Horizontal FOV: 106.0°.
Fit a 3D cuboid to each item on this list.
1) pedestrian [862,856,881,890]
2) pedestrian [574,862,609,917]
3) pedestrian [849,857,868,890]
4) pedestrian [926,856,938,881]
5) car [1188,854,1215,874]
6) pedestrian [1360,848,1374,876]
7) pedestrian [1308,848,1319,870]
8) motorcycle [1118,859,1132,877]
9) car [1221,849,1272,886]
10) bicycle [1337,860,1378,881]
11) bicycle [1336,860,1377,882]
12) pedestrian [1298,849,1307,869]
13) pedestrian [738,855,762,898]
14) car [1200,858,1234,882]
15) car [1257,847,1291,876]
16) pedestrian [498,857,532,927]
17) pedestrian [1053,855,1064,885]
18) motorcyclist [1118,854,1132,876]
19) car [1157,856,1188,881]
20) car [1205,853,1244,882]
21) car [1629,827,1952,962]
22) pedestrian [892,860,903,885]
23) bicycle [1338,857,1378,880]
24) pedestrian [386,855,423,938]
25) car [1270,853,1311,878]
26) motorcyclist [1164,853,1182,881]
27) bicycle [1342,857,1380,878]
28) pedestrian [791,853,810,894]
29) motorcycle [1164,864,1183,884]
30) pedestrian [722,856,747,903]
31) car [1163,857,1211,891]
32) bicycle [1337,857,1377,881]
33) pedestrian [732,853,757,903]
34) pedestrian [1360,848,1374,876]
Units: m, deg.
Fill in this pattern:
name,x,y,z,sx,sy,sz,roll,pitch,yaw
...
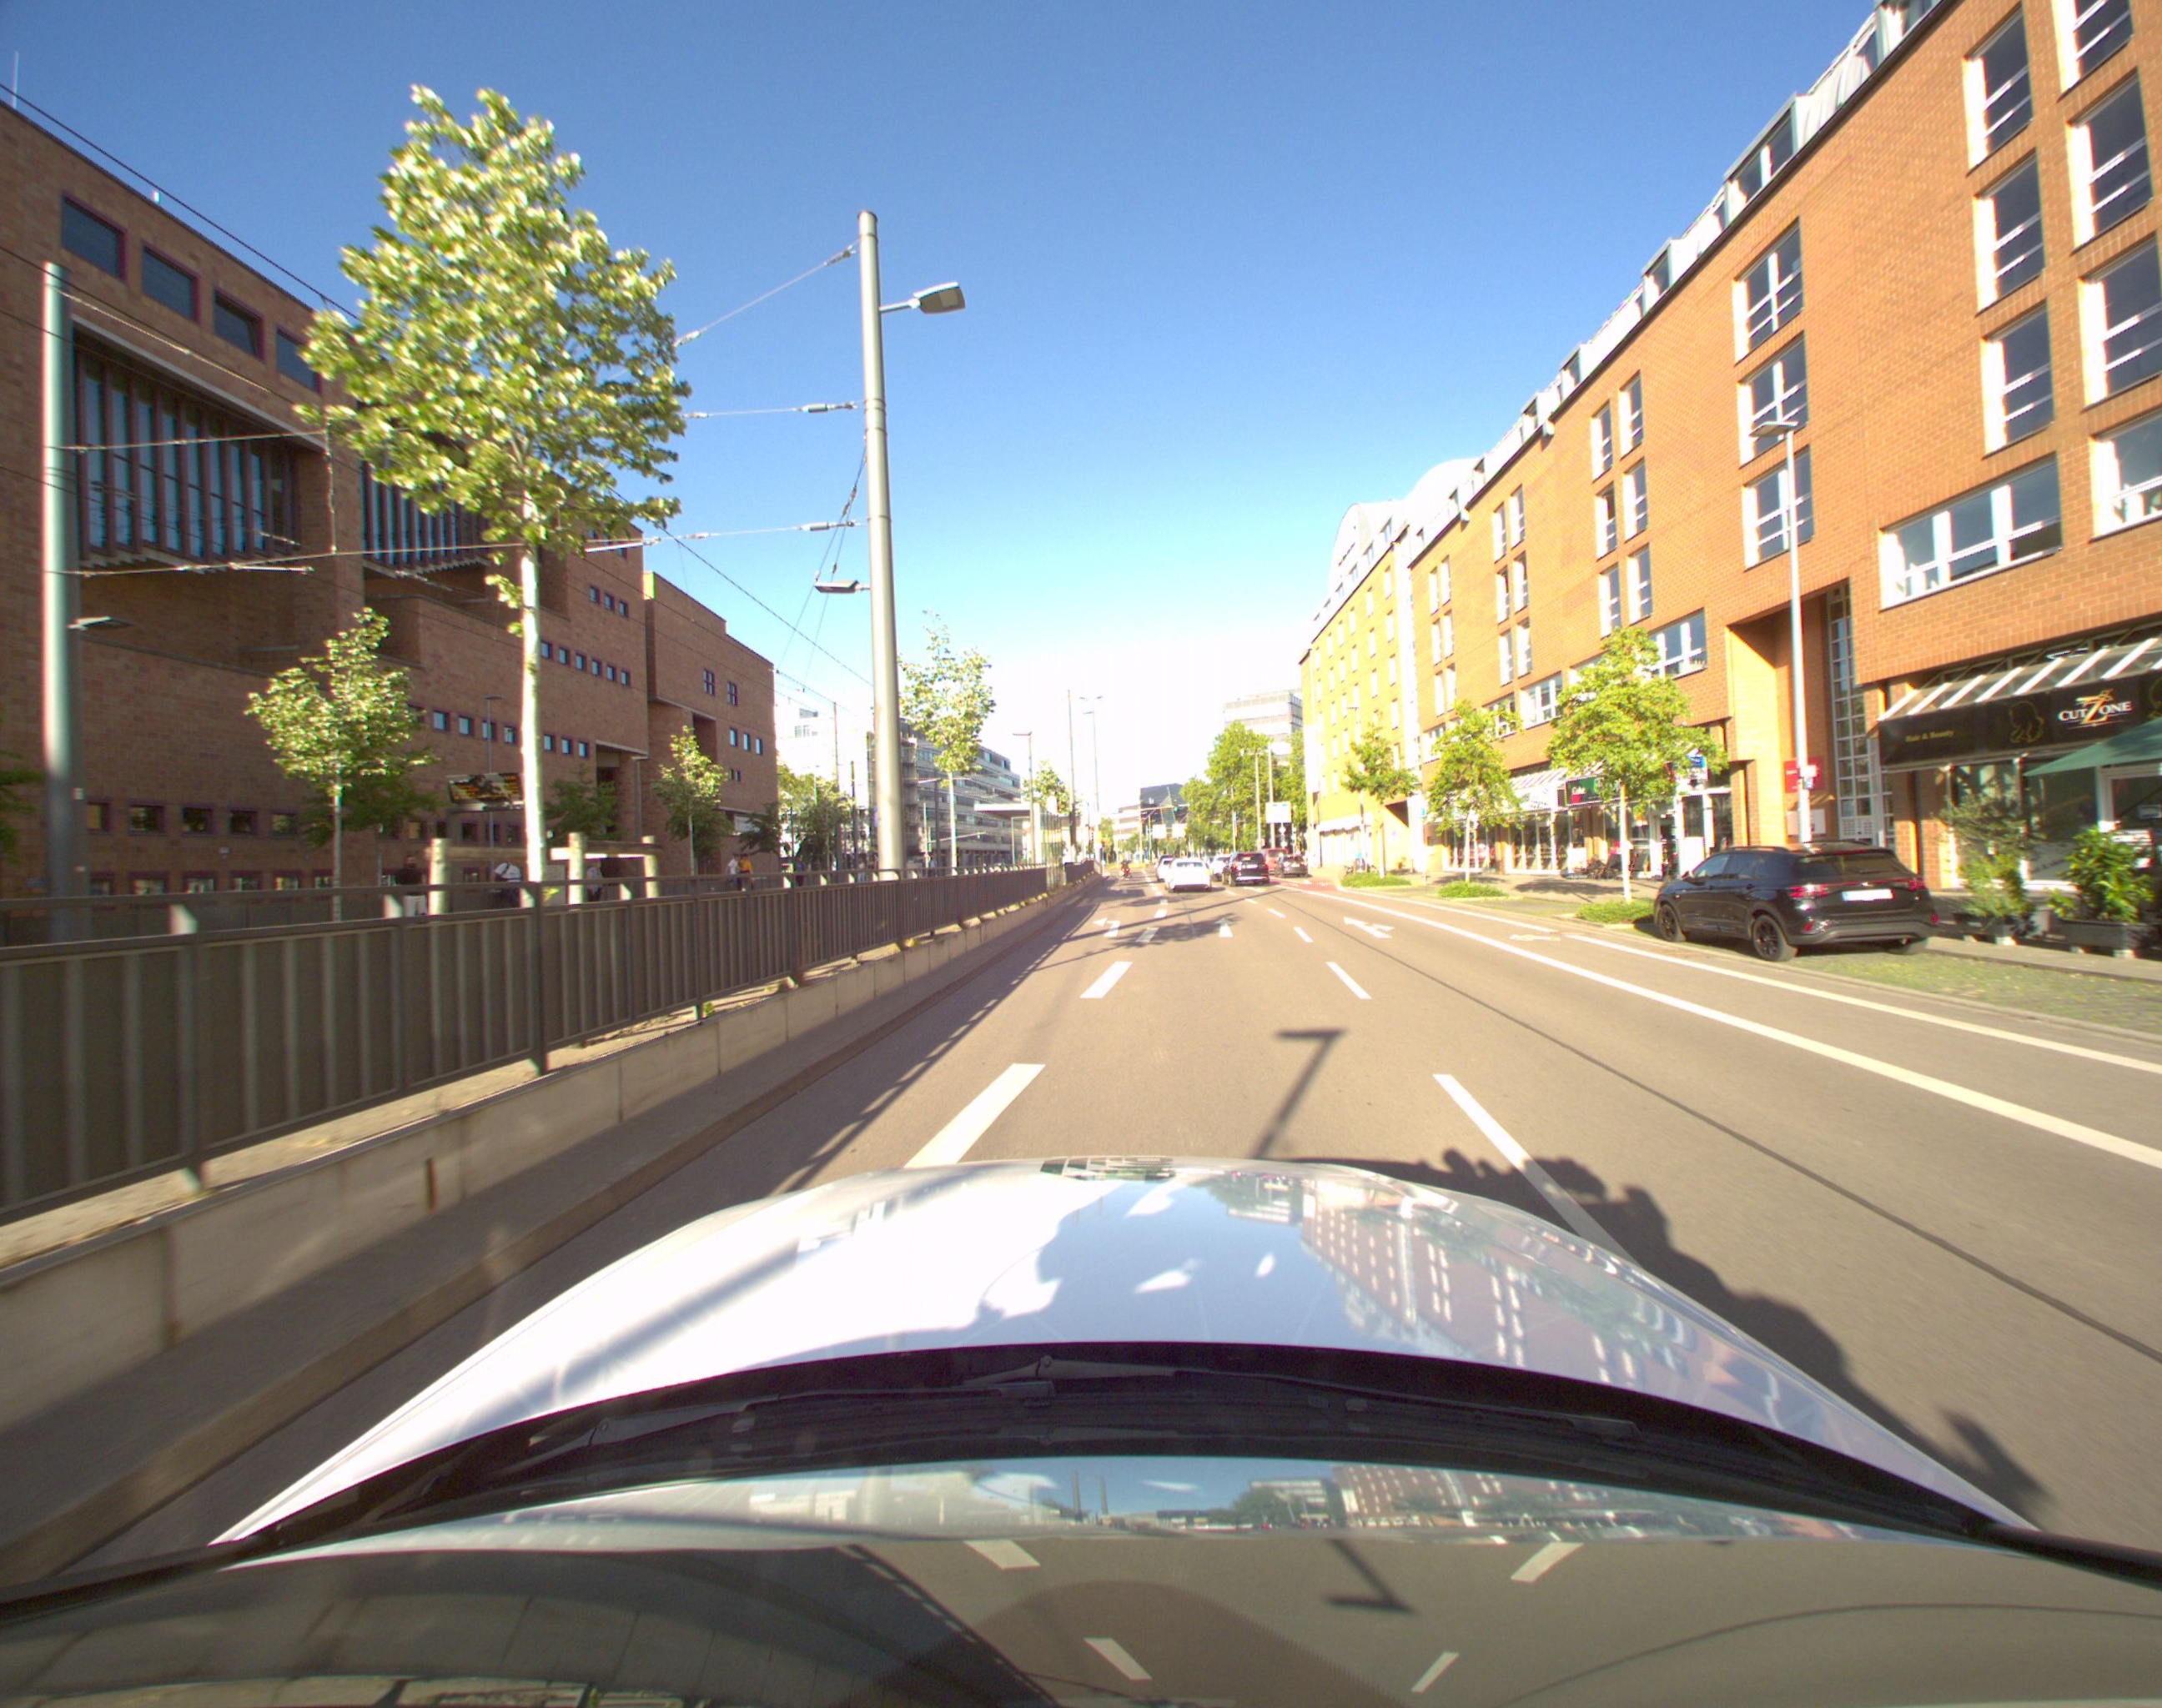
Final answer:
name,x,y,z,sx,sy,sz,roll,pitch,yaw
pedestrian,-10.388,0.943,40.379,0.637,1.643,0.946,0,-1,4
pedestrian,-13.090,0.935,21.794,0.537,1.459,0.643,0,-1,4
pedestrian,-11.031,0.953,40.414,0.637,1.608,0.946,0,-1,4
pedestrian,-10.909,1.081,59.597,0.611,1.817,0.898,-1,-1,4
car,9.853,0.807,66.771,1.843,1.498,4.383,-1,0,3
pedestrian,19.253,0.523,54.782,0.604,1.821,0.749,-2,-1,3
pedestrian,19.428,0.440,68.073,0.604,1.821,0.749,-2,-1,3
motorcycle,3.362,1.063,62.063,1.014,1.312,2.917,0,0,4
car,8.408,0.673,41.688,1.966,1.759,4.637,0,0,4
bicycle,14.349,0.866,42.309,1.928,0.969,0.557,-4,-1,21
bicycle,14.154,0.872,41.803,1.928,1.022,0.504,-4,-1,20
pedestrian,20.542,0.475,75.401,0.604,1.821,0.749,-2,-1,3
pedestrian,-12.634,0.842,31.101,0.620,1.612,0.616,-1,-1,4
car,9.287,1.076,55.752,1.843,1.498,4.383,-1,0,3
car,14.237,0.533,60.193,1.851,1.961,4.006,-2,0,5
pedestrian,-13.260,0.876,19.094,0.376,1.621,0.553,0,-1,4
pedestrian,-1.306,0.919,46.983,0.517,1.669,0.550,-1,-1,4
motorcyclist,3.359,0.845,62.129,1.014,1.603,1.149,0,-1,4
car,5.615,0.868,50.341,1.685,1.497,4.413,0,0,4
car,8.658,0.845,49.412,1.843,1.640,4.382,-1,-1,4
car,10.404,0.537,12.446,1.710,1.637,4.243,-3,-1,10
pedestrian,-11.863,1.199,52.677,0.561,1.609,0.616,-1,-1,4
bicycle,14.609,0.776,43.007,1.931,1.075,0.556,-3,-1,14
pedestrian,-13.624,0.845,16.401,0.376,1.648,0.416,0,-1,4
car,13.749,0.743,53.664,1.838,1.560,4.637,0,0,4
motorcyclist,5.089,0.723,45.006,0.834,1.475,1.237,-2,-1,2
bicycle,15.755,0.751,45.855,1.930,1.074,0.628,-3,-1,15
pedestrian,-12.293,0.846,35.699,0.579,1.738,0.616,-1,-1,4
motorcycle,5.115,1.089,45.038,0.834,1.062,2.554,-2,0,3
pedestrian,-12.756,0.937,30.016,0.620,1.715,0.616,-1,-1,4
car,4.659,0.835,36.348,1.773,1.414,4.823,0,0,4
bicycle,14.749,0.801,43.520,1.931,1.137,0.492,-3,-1,14
pedestrian,-11.529,0.818,27.909,0.637,1.696,0.541,0,-1,4
pedestrian,18.911,0.513,53.896,0.604,1.821,0.749,-2,-1,3
